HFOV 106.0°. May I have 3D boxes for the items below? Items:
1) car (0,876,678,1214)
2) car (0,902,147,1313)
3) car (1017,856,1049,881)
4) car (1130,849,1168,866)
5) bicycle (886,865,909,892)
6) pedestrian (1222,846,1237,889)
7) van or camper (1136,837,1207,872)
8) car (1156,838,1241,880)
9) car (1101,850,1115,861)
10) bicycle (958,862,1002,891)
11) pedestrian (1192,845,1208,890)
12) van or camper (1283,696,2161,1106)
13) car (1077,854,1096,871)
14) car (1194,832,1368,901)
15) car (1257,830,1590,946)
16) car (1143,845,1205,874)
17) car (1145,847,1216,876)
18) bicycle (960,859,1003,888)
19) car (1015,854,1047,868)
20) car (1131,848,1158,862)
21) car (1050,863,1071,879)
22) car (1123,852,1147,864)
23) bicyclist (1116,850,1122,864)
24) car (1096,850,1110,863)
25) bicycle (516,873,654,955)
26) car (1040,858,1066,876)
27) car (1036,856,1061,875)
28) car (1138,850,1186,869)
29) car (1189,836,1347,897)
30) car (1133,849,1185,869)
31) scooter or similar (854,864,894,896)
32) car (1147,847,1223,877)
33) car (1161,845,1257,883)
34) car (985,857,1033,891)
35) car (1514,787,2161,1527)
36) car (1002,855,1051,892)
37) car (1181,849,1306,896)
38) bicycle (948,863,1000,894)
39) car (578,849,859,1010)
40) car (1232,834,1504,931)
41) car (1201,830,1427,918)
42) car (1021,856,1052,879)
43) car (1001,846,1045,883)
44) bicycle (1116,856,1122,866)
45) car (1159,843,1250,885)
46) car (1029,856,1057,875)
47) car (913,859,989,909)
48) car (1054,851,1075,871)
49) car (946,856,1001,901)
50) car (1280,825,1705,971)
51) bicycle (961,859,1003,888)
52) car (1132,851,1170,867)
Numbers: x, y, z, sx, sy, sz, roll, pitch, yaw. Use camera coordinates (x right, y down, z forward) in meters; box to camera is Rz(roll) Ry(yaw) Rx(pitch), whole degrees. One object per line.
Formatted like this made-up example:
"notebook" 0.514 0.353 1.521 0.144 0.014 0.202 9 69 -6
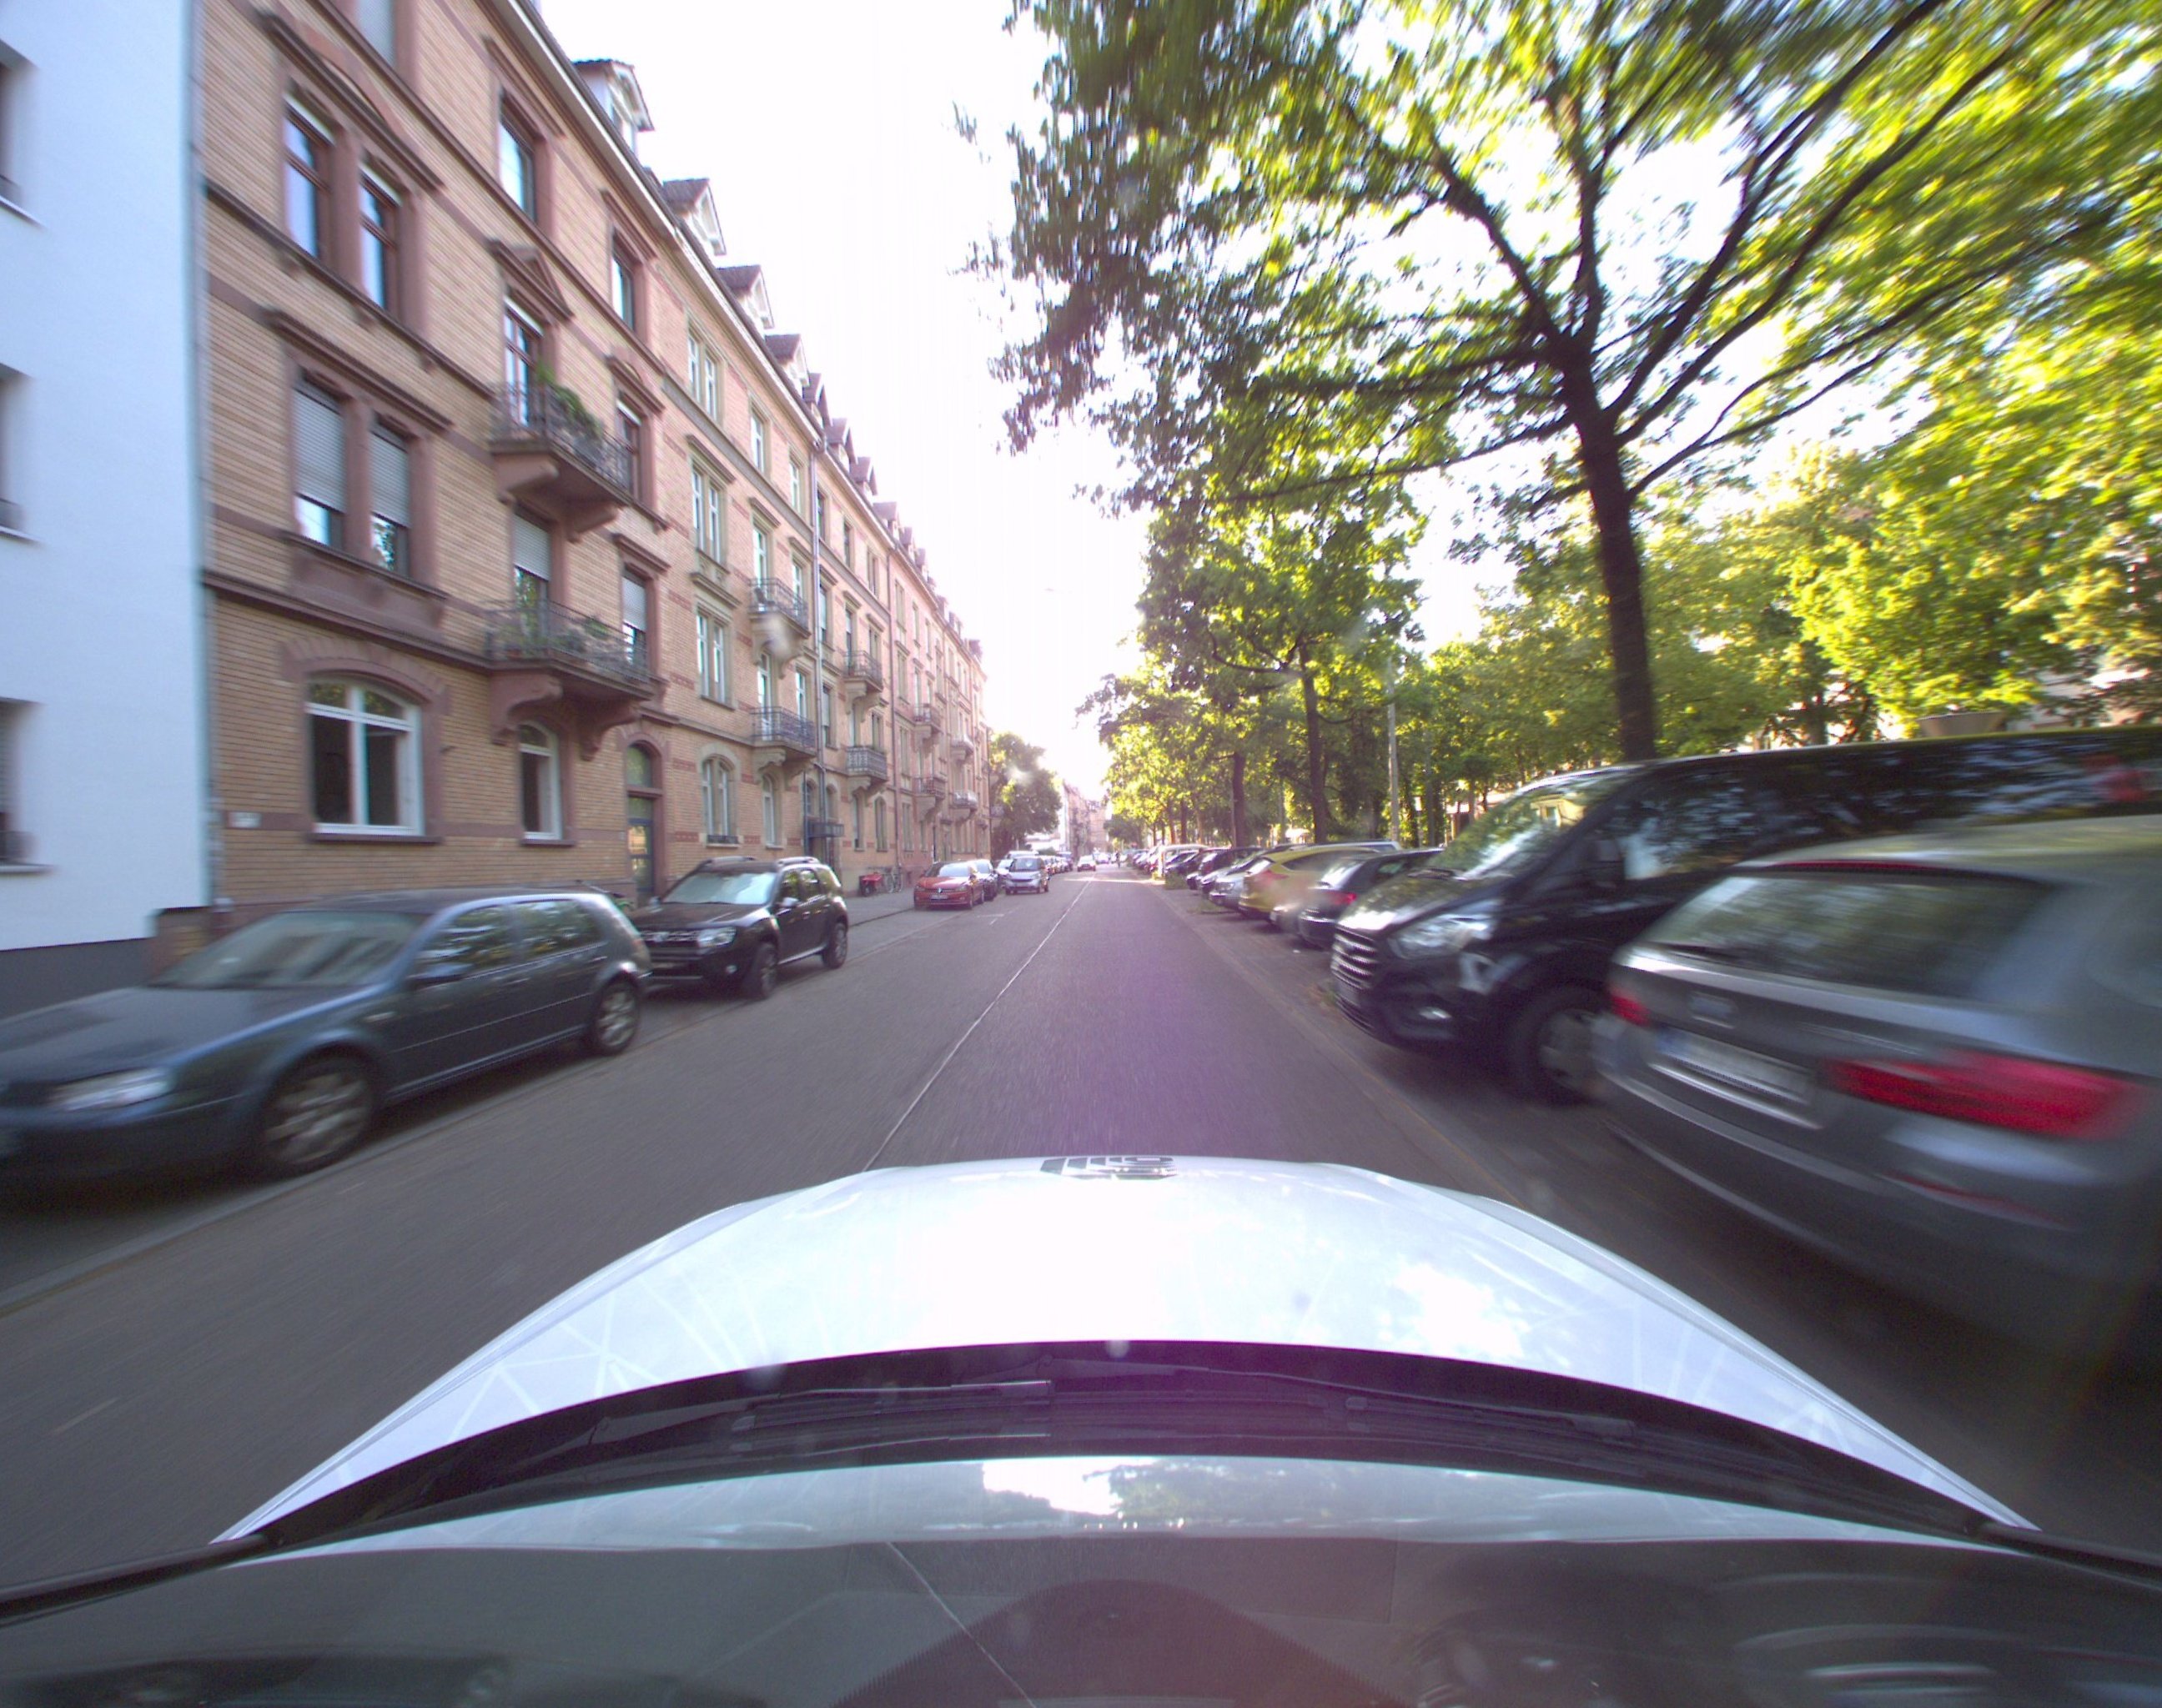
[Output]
"car" -4.820 0.947 5.830 1.608 1.452 4.005 -1 0 4
"car" -4.873 0.932 1.302 1.661 1.471 4.287 1 0 3
"car" -2.954 0.865 51.198 1.664 1.486 4.001 -1 0 1
"car" 7.511 0.373 90.309 3.975 1.794 1.858 -1 -2 -1
"bicycle" -7.979 1.050 35.373 0.424 1.130 1.771 -1 -2 5
"pedestrian" 5.422 0.481 29.695 0.377 1.516 0.522 -2 2 21
"van or camper" 6.597 0.056 60.028 4.965 2.377 2.184 -1 -2 0
"car" 6.164 0.250 42.971 4.202 1.864 1.763 -4 0 3
"car" 4.240 0.274 127.497 1.774 1.674 4.482 -1 0 -3
"bicycle" -4.276 0.957 34.547 1.756 1.215 0.442 -1 -2 1
"pedestrian" 4.296 0.478 29.368 0.377 1.584 0.522 -2 2 21
"van or camper" 4.308 0.250 5.453 5.389 2.027 2.032 -3 0 4
"car" 0.585 0.815 78.213 1.662 1.464 4.001 -4 0 1
"car" 5.453 0.354 22.651 4.381 1.591 1.839 -3 -1 3
"car" 5.113 0.512 12.678 4.379 1.440 1.840 -3 -1 4
"car" 6.281 0.356 55.469 3.970 1.691 1.860 -4 0 3
"car" 6.103 0.438 50.393 4.202 1.453 1.866 -4 0 3
"bicycle" -4.276 0.839 35.067 1.756 1.215 0.464 -1 -2 1
"car" -6.543 0.887 107.117 3.970 1.706 2.001 -1 -2 3
"car" 9.898 0.125 127.319 3.959 2.014 2.007 -2 -2 13
"car" -2.021 1.632 81.051 1.750 1.466 4.269 -1 0 2
"car" 9.750 0.731 147.785 3.959 2.014 2.007 -2 -2 13
"bicyclist" 4.170 0.314 89.895 0.625 1.573 0.802 -1 -2 1
"car" 3.267 0.444 122.312 1.986 1.838 4.000 -1 -2 1
"bicycle" -8.587 0.983 14.268 0.733 1.206 2.516 -1 1 3
"car" -2.424 1.158 72.399 1.748 1.466 4.274 -1 0 5
"car" -2.695 0.909 67.942 1.750 1.515 4.162 -1 0 1
"car" 6.935 0.494 70.018 3.975 1.548 1.858 -1 -2 -1
"car" 5.715 0.383 25.247 4.389 1.591 1.836 -3 -1 -3
"car" 6.926 0.459 72.638 4.377 1.699 1.858 -1 -2 -1
"scooter or similar" -8.159 1.026 32.294 0.780 1.222 2.705 -1 -2 2
"car" 6.047 0.468 47.496 4.198 1.453 1.652 -4 0 6
"car" 5.827 0.454 37.490 4.069 1.442 1.761 -4 0 -1
"car" -3.474 0.911 39.793 1.667 1.454 4.213 -4 0 3
"car" 4.121 0.535 2.661 4.386 1.501 1.837 -3 -2 -1
"car" -2.259 0.799 34.528 1.496 1.435 2.758 -4 0 7
"car" 5.343 0.604 27.116 3.829 1.279 1.691 -3 0 1
"bicycle" -4.407 1.015 33.587 2.091 1.215 0.439 -1 -2 -14
"car" -4.516 0.823 10.946 1.745 1.706 4.202 -1 0 2
"car" 5.145 0.513 15.118 4.379 1.440 1.840 -3 -1 4
"car" 4.987 0.434 17.883 4.383 1.591 1.838 -3 -1 1
"car" -3.030 0.906 56.434 1.663 1.429 4.244 -1 0 3
"car" -3.199 0.646 45.675 1.986 1.921 5.040 -1 -2 1
"bicycle" 4.179 0.805 89.925 0.639 1.100 1.944 -1 -2 1
"car" 5.238 0.417 34.914 3.659 1.501 1.763 -4 0 3
"car" -2.862 0.846 61.871 1.696 1.429 3.881 0 0 4
"car" -4.047 0.892 25.926 1.748 1.464 4.000 0 0 0
"car" -1.714 0.735 86.587 1.950 2.018 4.269 -1 0 2
"car" -3.965 0.861 30.550 1.743 1.546 4.146 -1 0 -4
"car" 4.946 0.519 10.281 4.384 1.440 1.838 -3 -1 1
"bicycle" -4.307 0.856 35.579 1.756 1.215 0.428 -1 -2 1
"car" 7.501 0.554 87.632 3.975 1.563 1.858 -1 -2 -1
